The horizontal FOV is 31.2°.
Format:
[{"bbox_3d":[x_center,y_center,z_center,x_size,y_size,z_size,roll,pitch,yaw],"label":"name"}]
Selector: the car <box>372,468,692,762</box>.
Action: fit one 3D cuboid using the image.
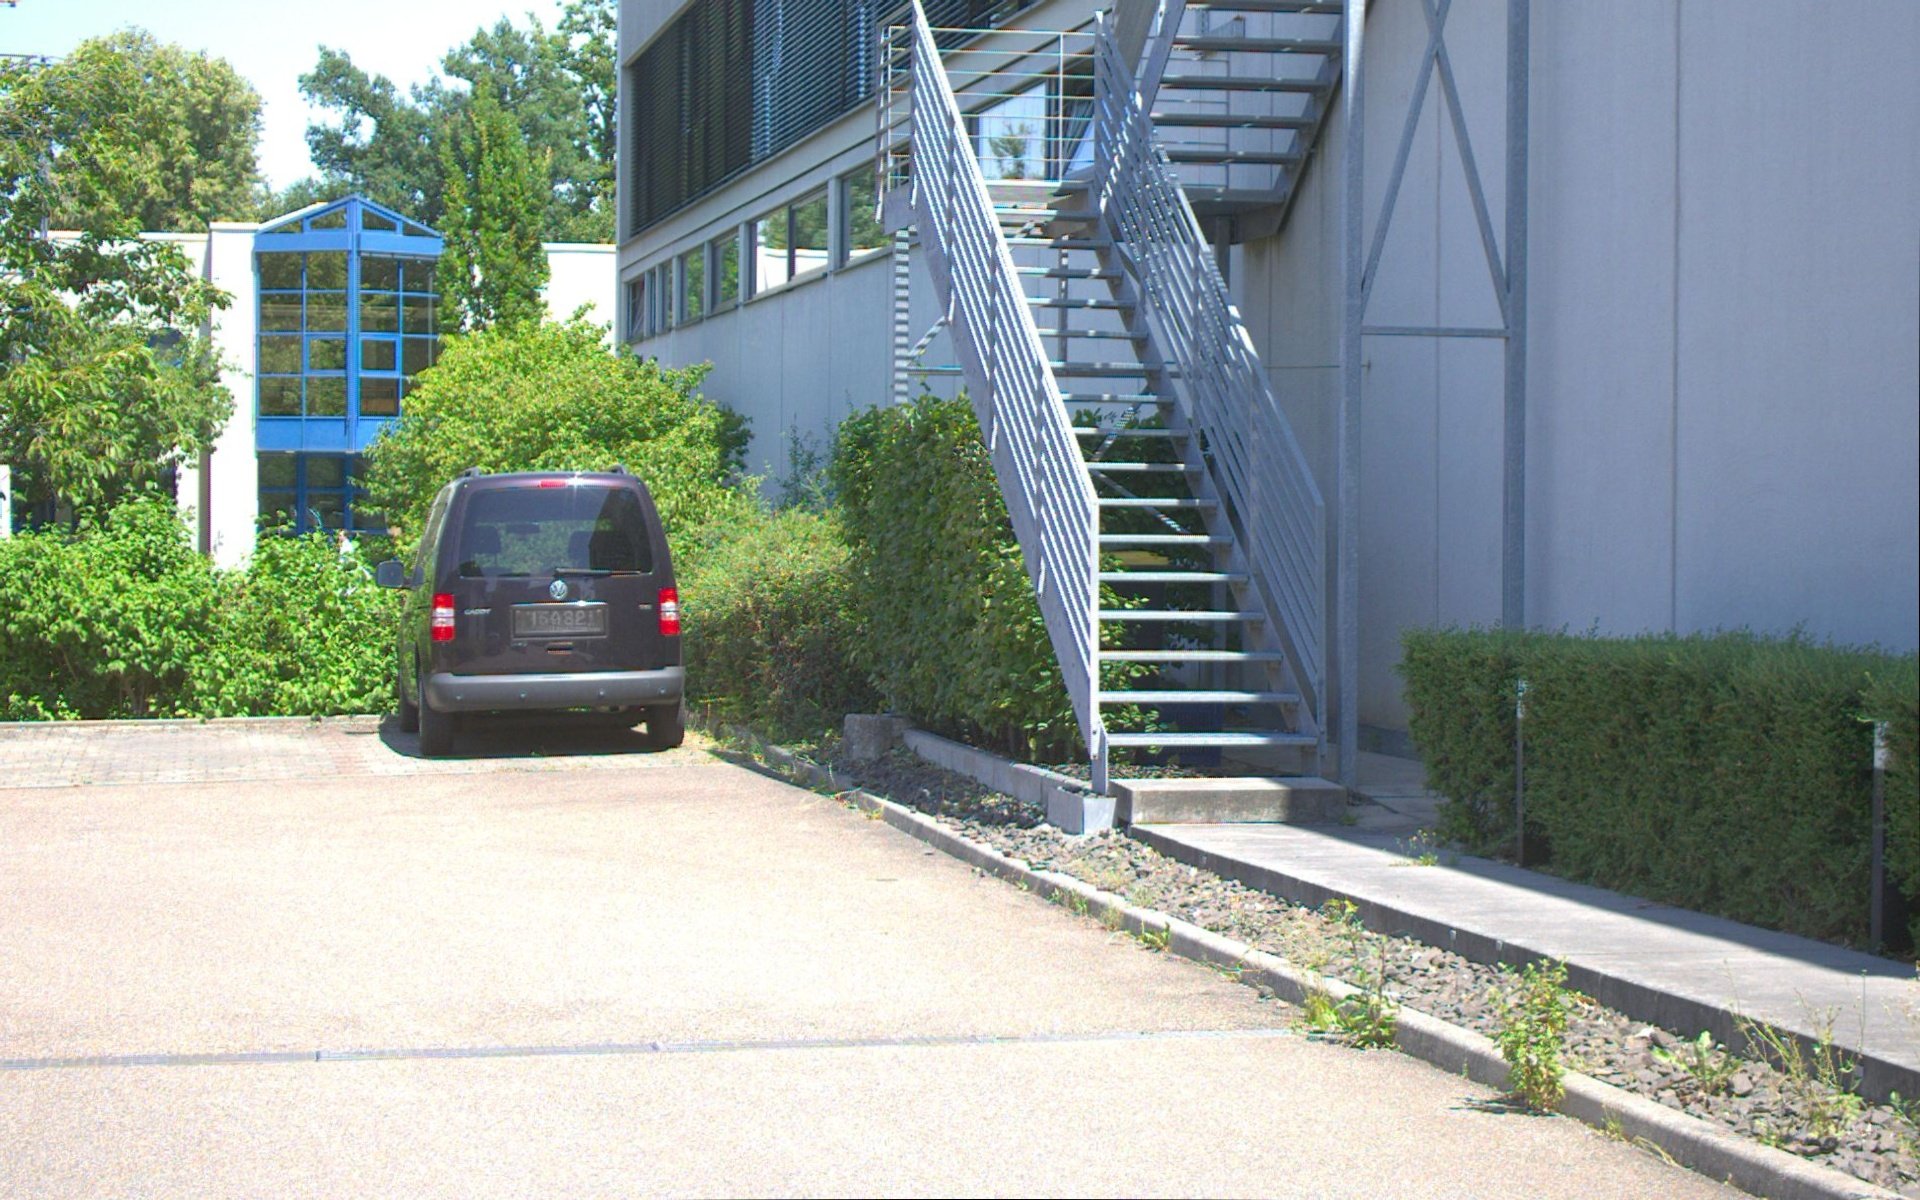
[{"bbox_3d":[-3.046,0.036,23.816,1.742,1.830,4.001,-1,2,-13],"label":"car"}]
